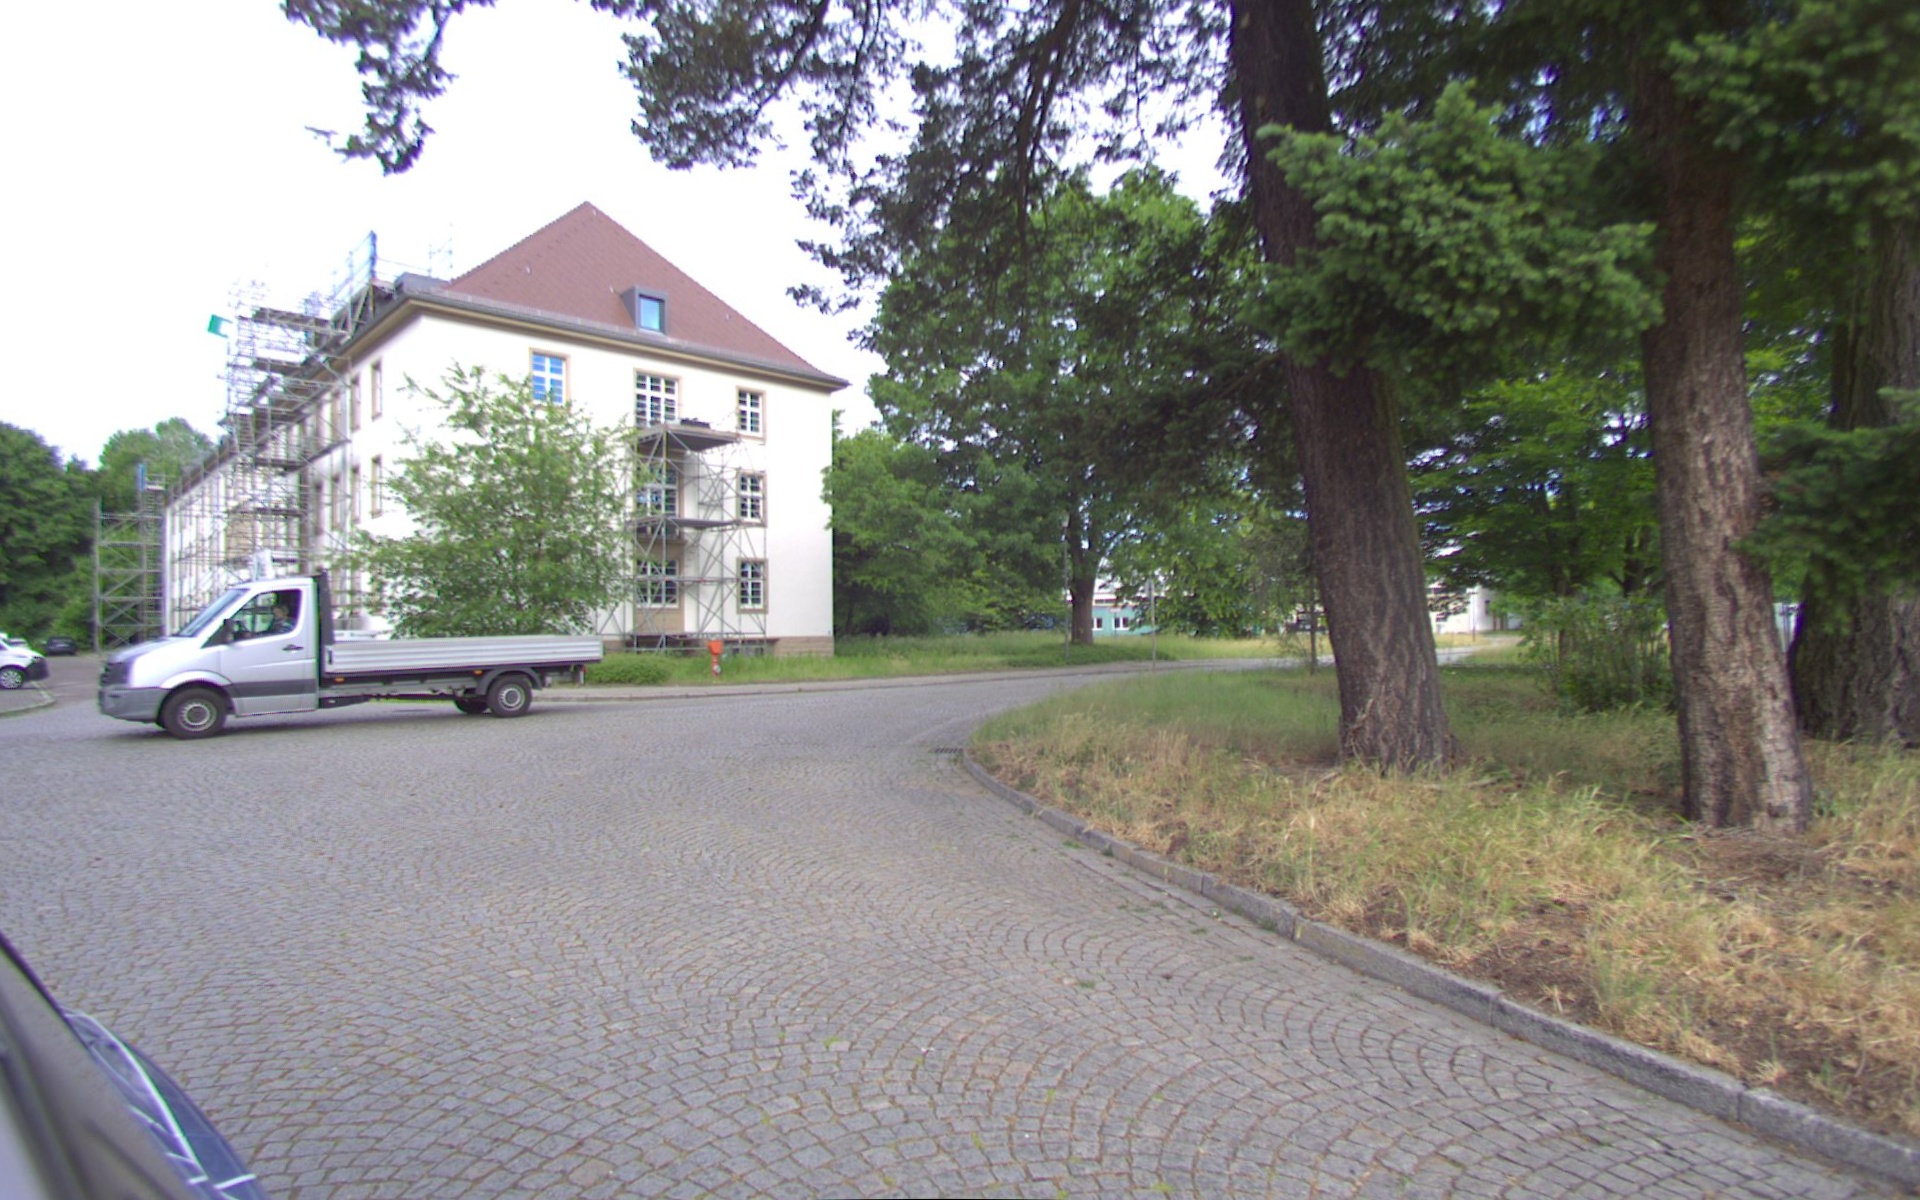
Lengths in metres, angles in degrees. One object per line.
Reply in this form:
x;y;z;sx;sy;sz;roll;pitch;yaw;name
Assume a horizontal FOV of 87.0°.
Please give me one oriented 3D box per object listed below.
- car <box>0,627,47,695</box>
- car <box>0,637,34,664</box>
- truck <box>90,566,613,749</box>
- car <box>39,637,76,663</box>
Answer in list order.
-30.437;1.822;29.895;5.076;2.029;2.001;1;-3;-44;car
-74.303;3.959;79.582;4.263;2.029;1.935;-2;-3;45;car
-9.398;0.830;16.376;6.983;2.385;1.994;1;-3;-44;truck
-72.685;3.980;81.508;4.263;2.029;1.935;-2;-3;45;car
